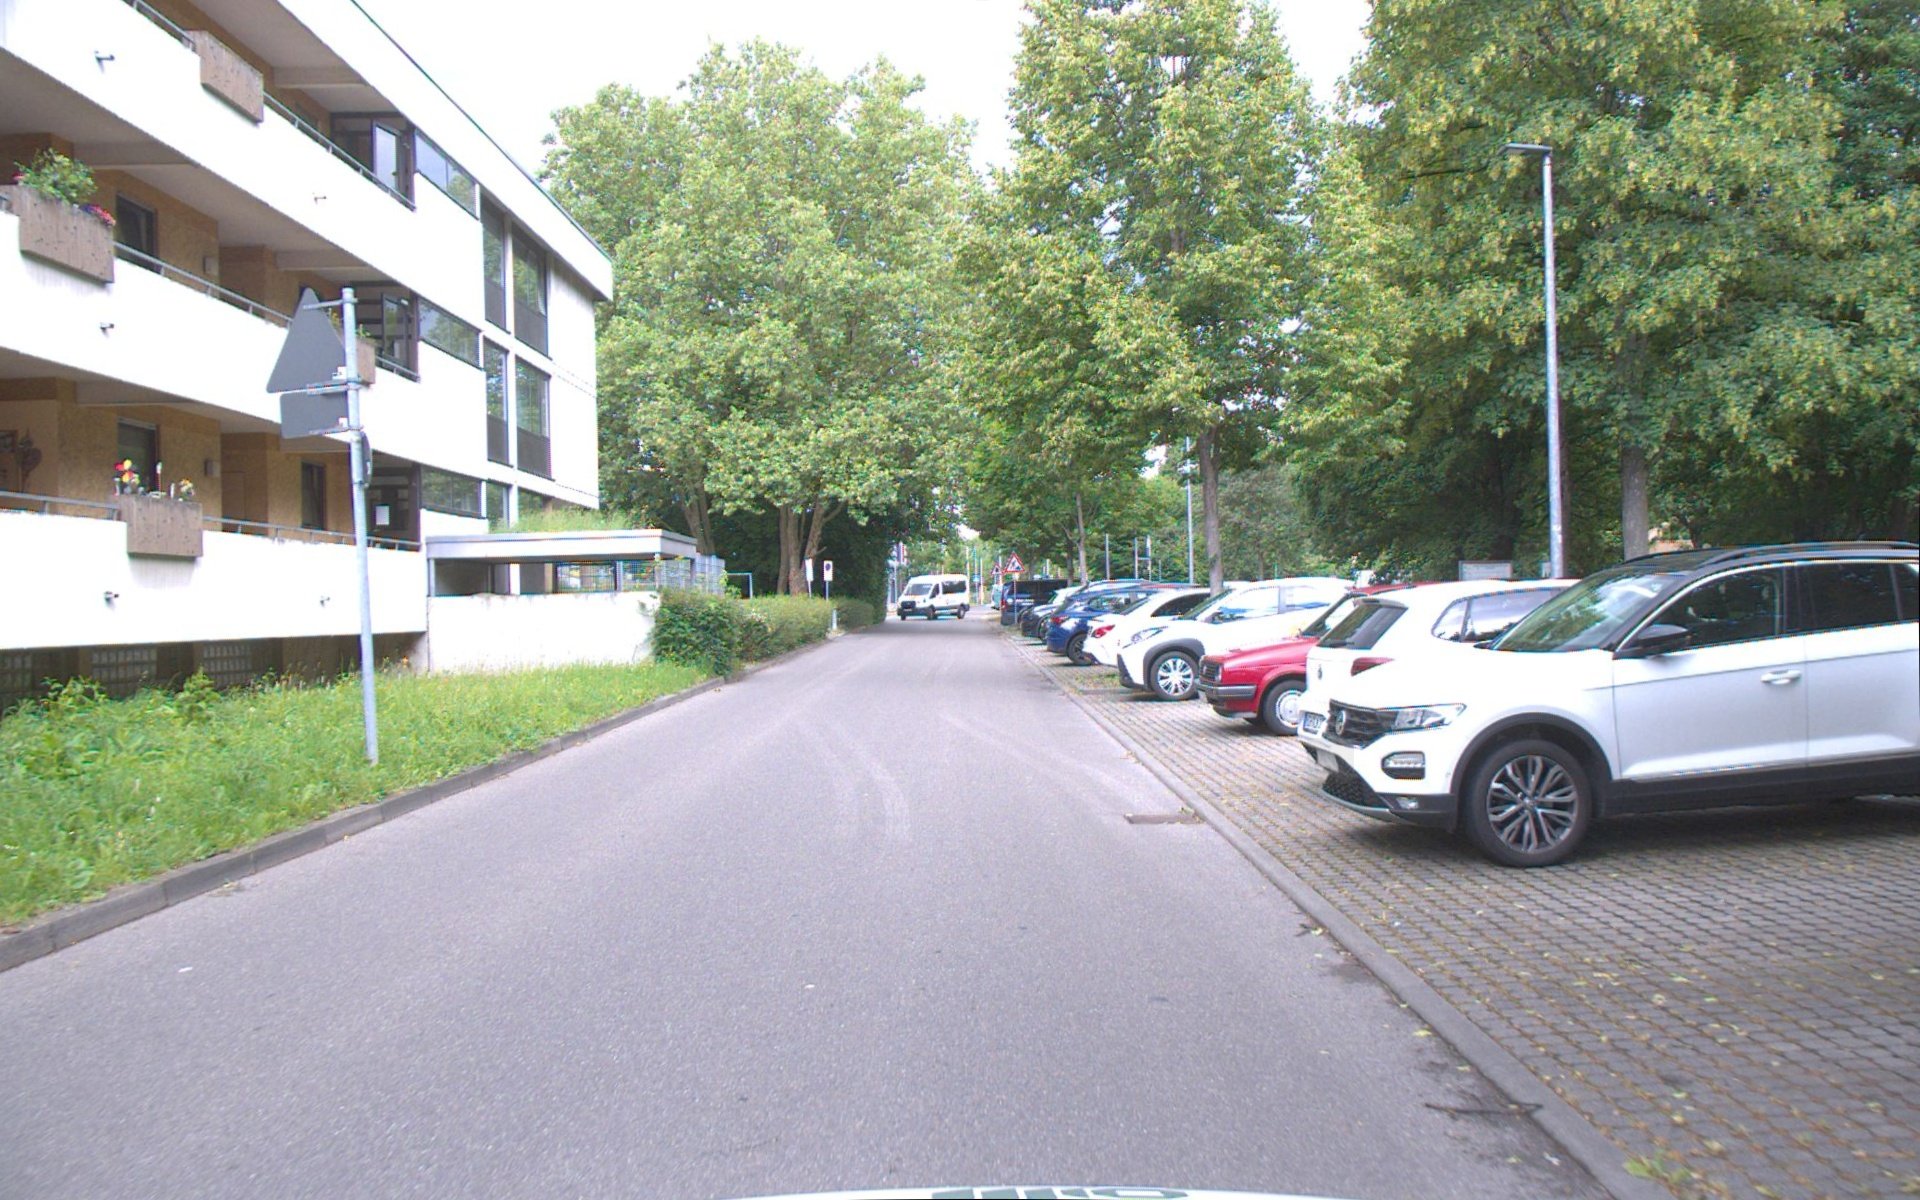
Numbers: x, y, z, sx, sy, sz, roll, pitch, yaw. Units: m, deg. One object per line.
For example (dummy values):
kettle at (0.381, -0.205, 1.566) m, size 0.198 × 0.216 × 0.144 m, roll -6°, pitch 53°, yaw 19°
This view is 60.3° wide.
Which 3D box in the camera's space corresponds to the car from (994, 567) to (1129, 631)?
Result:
car at (3.770, -0.049, 61.960) m, size 4.853 × 2.048 × 2.166 m, roll -4°, pitch 0°, yaw 1°

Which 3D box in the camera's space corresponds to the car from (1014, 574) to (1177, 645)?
car at (3.757, 0.251, 46.497) m, size 4.325 × 1.705 × 2.082 m, roll -3°, pitch 1°, yaw -1°

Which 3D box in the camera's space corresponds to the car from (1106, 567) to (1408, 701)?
car at (3.934, 0.443, 22.416) m, size 3.760 × 1.542 × 1.881 m, roll -3°, pitch 0°, yaw 2°

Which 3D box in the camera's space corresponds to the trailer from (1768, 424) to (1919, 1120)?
trailer at (3.975, 0.383, 4.246) m, size 2.969 × 1.822 × 1.562 m, roll -3°, pitch 0°, yaw -3°

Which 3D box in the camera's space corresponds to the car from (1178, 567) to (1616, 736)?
car at (4.389, 0.500, 17.047) m, size 3.972 × 1.447 × 1.816 m, roll -3°, pitch 0°, yaw -2°

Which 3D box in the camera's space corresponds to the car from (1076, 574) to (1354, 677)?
car at (4.268, 0.416, 28.192) m, size 4.394 × 1.480 × 1.846 m, roll -3°, pitch 0°, yaw 0°

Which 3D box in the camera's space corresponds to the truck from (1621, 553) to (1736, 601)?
truck at (39.777, -1.256, 91.700) m, size 5.389 × 2.468 × 2.194 m, roll -1°, pitch 0°, yaw 6°

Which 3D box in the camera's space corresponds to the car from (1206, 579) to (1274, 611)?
car at (15.968, -0.298, 94.384) m, size 3.699 × 1.697 × 1.769 m, roll -2°, pitch 0°, yaw 7°

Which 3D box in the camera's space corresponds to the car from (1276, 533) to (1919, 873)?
car at (4.042, 0.488, 9.396) m, size 4.031 × 1.575 × 1.860 m, roll -3°, pitch 0°, yaw -3°

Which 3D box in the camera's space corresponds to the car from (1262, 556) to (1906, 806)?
car at (4.377, 0.531, 11.956) m, size 3.931 × 1.447 × 1.790 m, roll -3°, pitch 0°, yaw -6°

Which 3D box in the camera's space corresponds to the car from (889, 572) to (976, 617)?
car at (-1.518, -0.314, 94.811) m, size 2.092 × 2.519 × 6.265 m, roll 0°, pitch 0°, yaw 29°

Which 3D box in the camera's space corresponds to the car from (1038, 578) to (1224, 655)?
car at (3.940, 0.375, 38.485) m, size 3.992 × 1.543 × 1.850 m, roll -3°, pitch 0°, yaw -4°

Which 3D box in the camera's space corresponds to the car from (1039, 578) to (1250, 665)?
car at (3.661, 0.421, 33.343) m, size 3.989 × 1.481 × 1.851 m, roll -3°, pitch 0°, yaw 0°

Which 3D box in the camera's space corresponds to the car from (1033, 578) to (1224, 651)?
car at (4.149, 0.334, 41.329) m, size 4.541 × 1.543 × 1.983 m, roll -3°, pitch 1°, yaw 1°

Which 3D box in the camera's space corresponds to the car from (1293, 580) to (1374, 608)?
car at (21.116, -0.314, 93.664) m, size 4.299 × 1.453 × 1.704 m, roll -1°, pitch 0°, yaw 6°

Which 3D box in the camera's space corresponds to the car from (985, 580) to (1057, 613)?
car at (4.235, -0.224, 115.276) m, size 4.870 × 2.006 × 1.847 m, roll -3°, pitch 0°, yaw 1°

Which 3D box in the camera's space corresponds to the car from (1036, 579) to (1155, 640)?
car at (3.996, 0.269, 49.105) m, size 3.310 × 1.602 × 1.796 m, roll -3°, pitch 1°, yaw 0°
